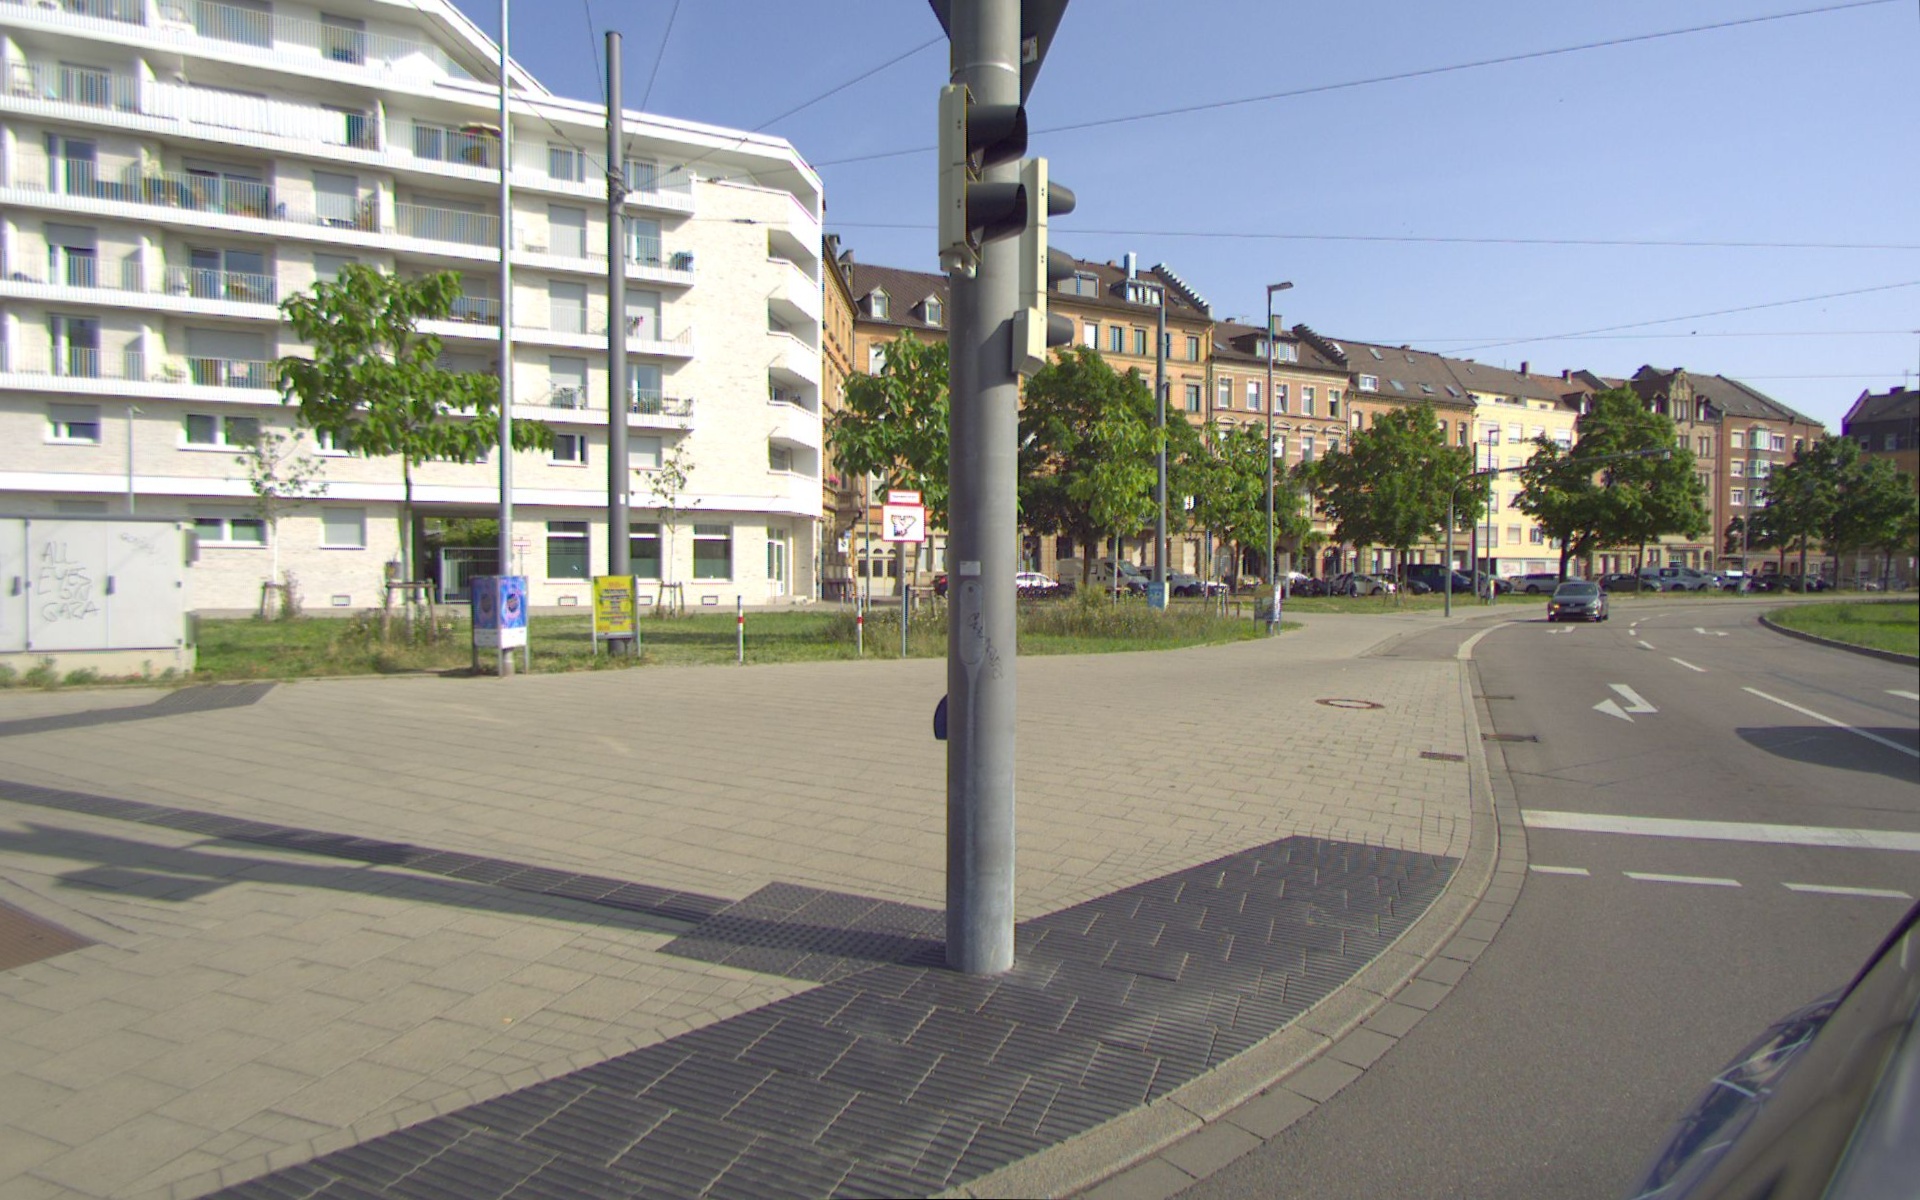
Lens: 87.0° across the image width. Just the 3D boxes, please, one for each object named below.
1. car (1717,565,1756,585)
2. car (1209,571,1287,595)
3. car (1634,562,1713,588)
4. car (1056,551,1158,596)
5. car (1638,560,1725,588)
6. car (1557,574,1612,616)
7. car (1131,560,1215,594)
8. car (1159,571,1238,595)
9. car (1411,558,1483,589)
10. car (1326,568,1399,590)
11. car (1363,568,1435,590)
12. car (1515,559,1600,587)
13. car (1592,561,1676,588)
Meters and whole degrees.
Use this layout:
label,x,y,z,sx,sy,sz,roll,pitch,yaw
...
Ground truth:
label,x,y,z,sx,sy,sz,roll,pitch,yaw
car,68.436,-2.193,89.214,2.726,1.753,1.333,-1,1,-15
car,15.800,-0.936,55.521,3.825,1.265,1.703,0,1,31
car,50.434,-1.790,71.662,4.383,1.787,1.704,2,2,31
car,7.574,-1.350,52.429,5.020,2.205,1.855,1,1,38
car,52.356,-1.908,73.578,4.878,1.860,1.706,2,2,26
car,22.675,-0.211,36.715,1.632,1.437,3.851,0,1,33
car,11.192,-1.217,53.165,3.952,1.728,1.860,0,1,31
car,12.864,-0.922,54.624,3.825,1.265,1.703,0,1,31
car,29.822,-1.597,62.034,3.828,1.828,1.765,0,1,33
car,23.884,-1.268,60.068,3.825,1.265,1.703,0,1,31
car,26.418,-1.268,60.903,3.825,1.265,1.703,0,1,31
car,40.230,-1.819,68.195,4.715,1.787,1.698,2,2,38
car,46.574,-1.773,69.981,4.715,1.787,1.698,2,2,38
